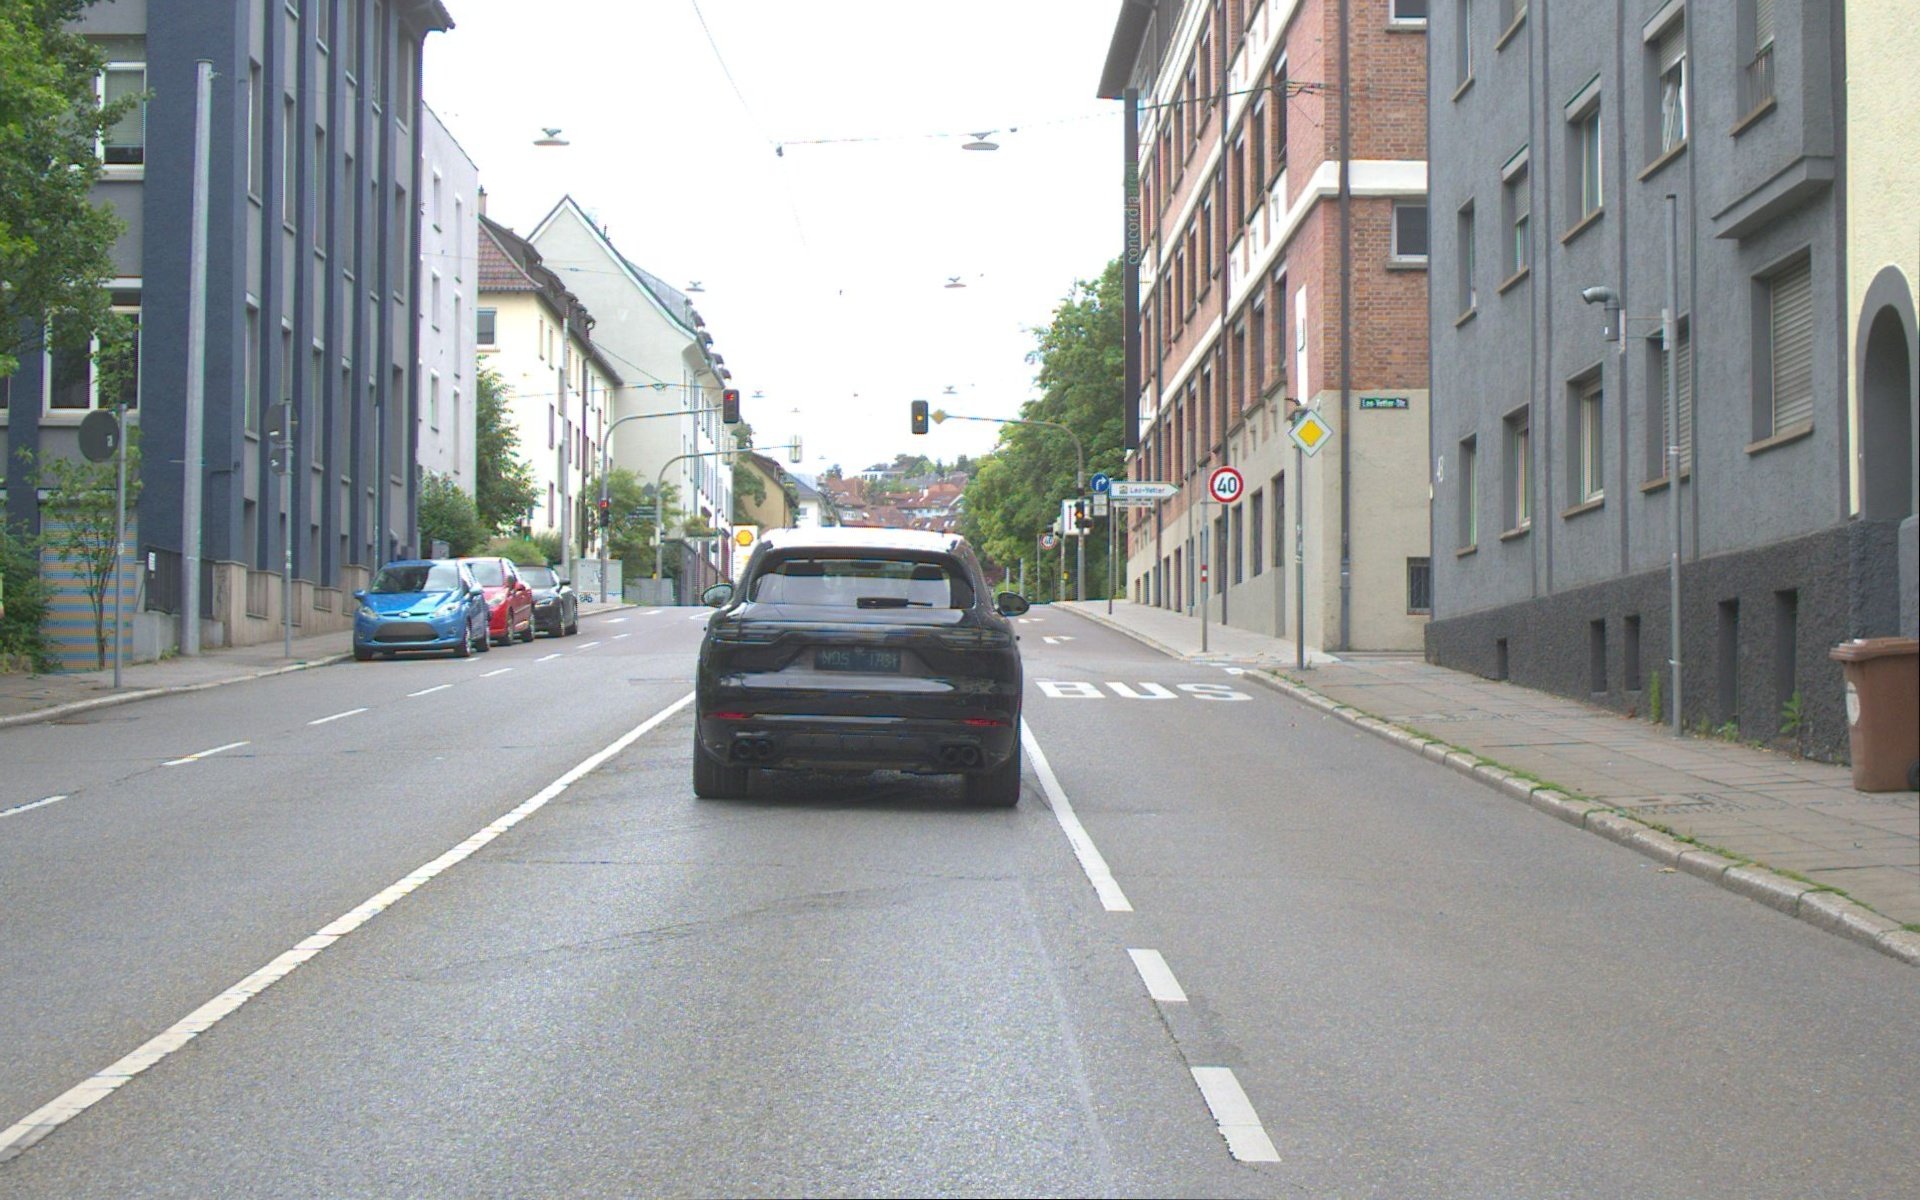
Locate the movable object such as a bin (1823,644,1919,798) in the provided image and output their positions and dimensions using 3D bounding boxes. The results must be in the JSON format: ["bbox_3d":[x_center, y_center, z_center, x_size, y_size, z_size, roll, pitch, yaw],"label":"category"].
[{"bbox_3d":[5.537,0.725,20.771,0.474,0.889,0.517,-3,1,-1],"label":"movable object such as a bin"}]

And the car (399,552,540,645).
[{"bbox_3d":[-8.184,-0.048,57.682,1.714,1.451,3.989,-2,1,1],"label":"car"}]

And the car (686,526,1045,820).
[{"bbox_3d":[-0.712,0.405,22.018,2.023,1.636,4.356,2,0,-4],"label":"car"}]

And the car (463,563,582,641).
[{"bbox_3d":[-8.073,0.012,63.713,1.714,1.336,3.904,-2,1,-1],"label":"car"}]

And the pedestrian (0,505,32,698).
[{"bbox_3d":[-10.054,-0.007,35.067,0.882,1.943,0.867,3,1,-1],"label":"pedestrian"}]

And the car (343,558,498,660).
[{"bbox_3d":[-8.134,0.107,52.121,1.714,1.419,3.989,-2,1,-1],"label":"car"}]

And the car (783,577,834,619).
[{"bbox_3d":[-6.445,-0.103,146.569,1.897,1.686,4.000,-2,1,1],"label":"car"}]
